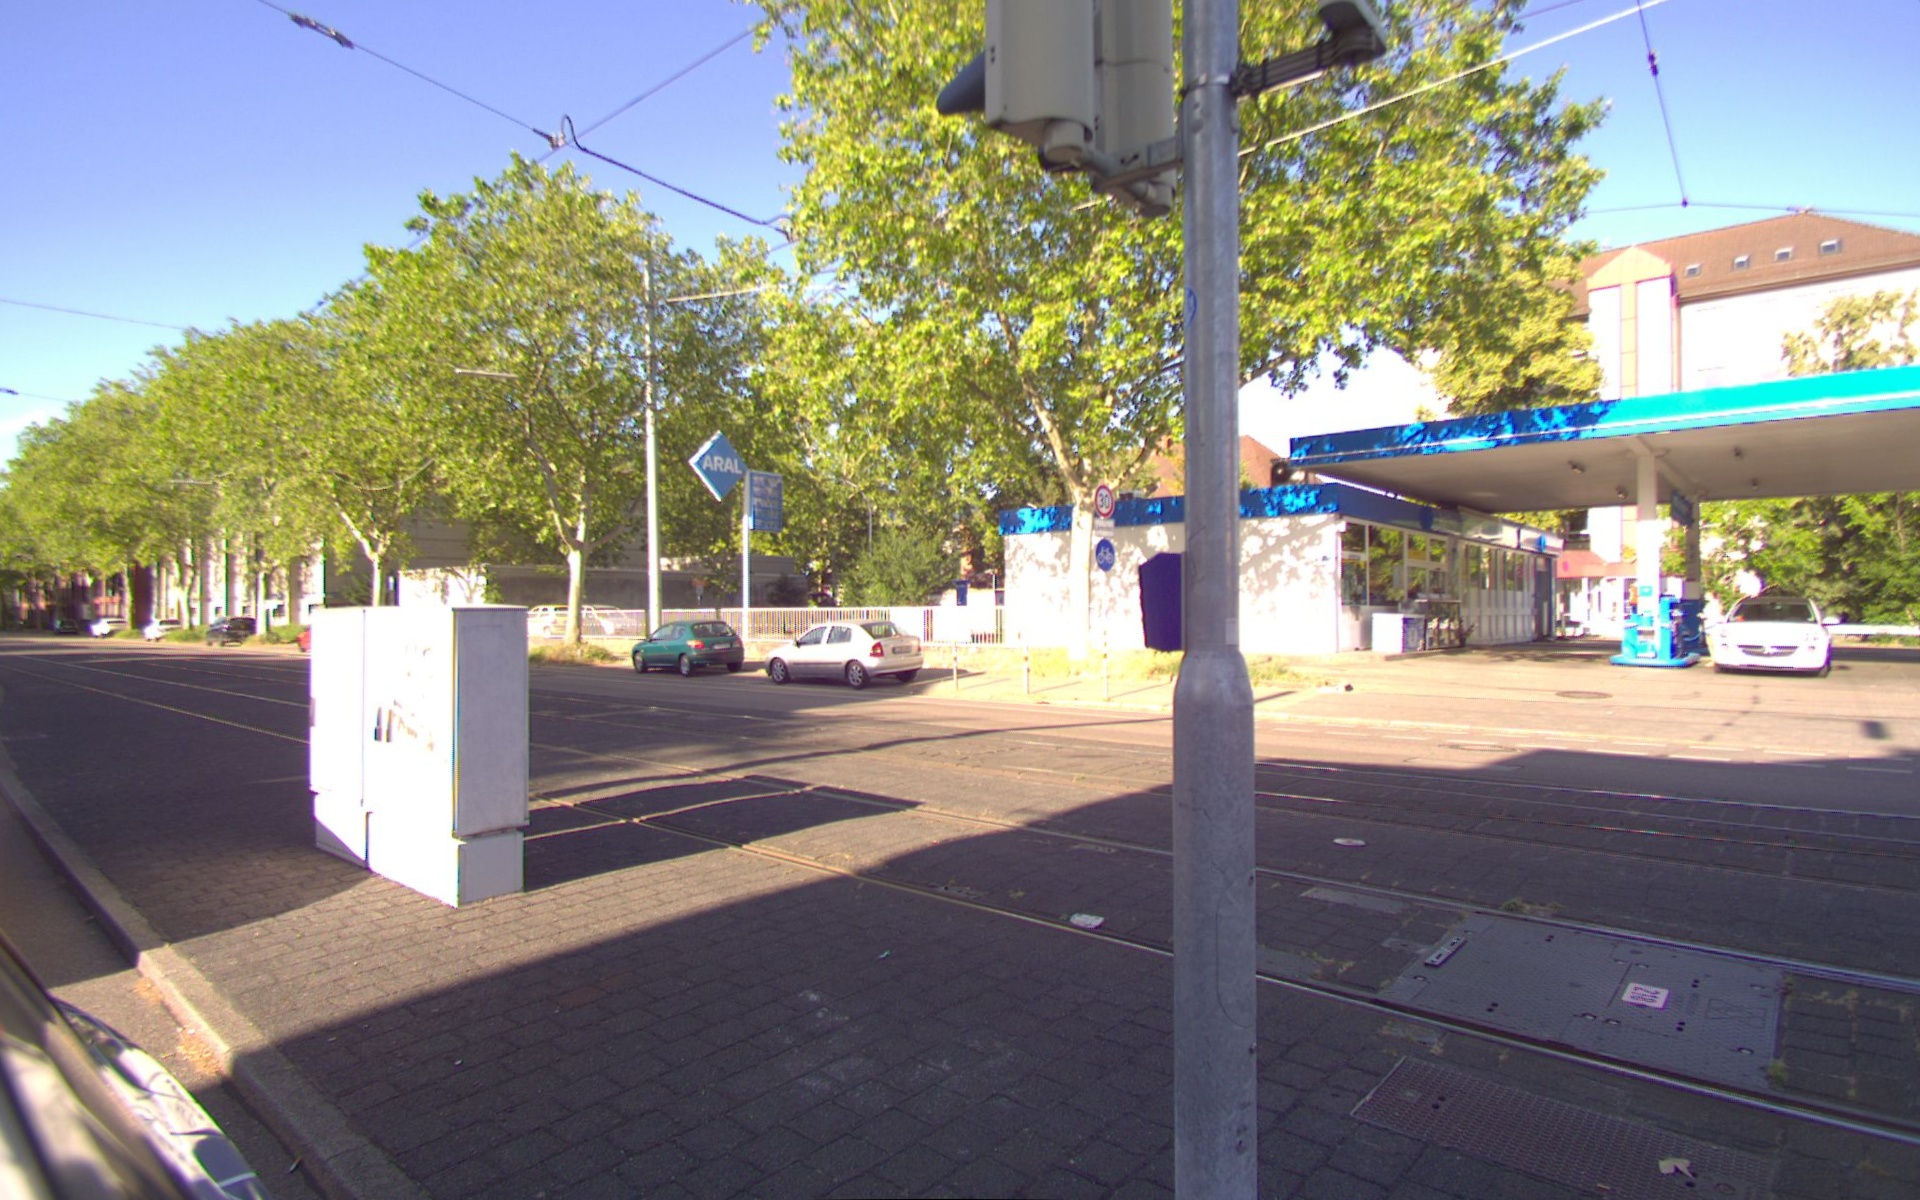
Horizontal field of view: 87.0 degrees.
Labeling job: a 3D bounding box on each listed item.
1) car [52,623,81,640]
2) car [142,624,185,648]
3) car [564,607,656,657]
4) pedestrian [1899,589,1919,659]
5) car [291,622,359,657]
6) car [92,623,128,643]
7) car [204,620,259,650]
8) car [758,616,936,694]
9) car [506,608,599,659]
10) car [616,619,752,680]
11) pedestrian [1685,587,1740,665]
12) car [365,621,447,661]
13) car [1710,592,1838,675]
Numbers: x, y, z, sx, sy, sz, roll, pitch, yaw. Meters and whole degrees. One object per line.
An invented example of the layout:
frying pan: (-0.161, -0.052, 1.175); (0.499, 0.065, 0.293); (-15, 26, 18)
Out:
car: (-84.871, 3.010, 96.122); (3.858, 1.495, 1.735); (-1, 0, 43)
car: (-53.637, 2.397, 68.126); (3.858, 1.495, 1.735); (-1, 0, 43)
car: (-15.145, 1.363, 43.694); (3.996, 2.029, 1.974); (-1, -1, 39)
pedestrian: (25.360, 0.614, 26.414); (0.887, 1.815, 0.907); (-1, -1, 15)
car: (-28.911, 1.773, 46.050); (3.858, 1.440, 1.695); (-1, 0, 43)
car: (-66.925, 2.578, 79.647); (3.858, 1.495, 1.735); (-1, 0, 43)
car: (-40.674, 1.954, 56.490); (3.858, 1.557, 1.735); (-1, 0, 43)
car: (-2.573, 1.167, 22.600); (3.857, 1.497, 1.823); (-1, 1, 42)
car: (-17.044, 1.393, 42.266); (3.996, 2.029, 1.974); (-1, -1, 39)
car: (-7.433, 1.274, 27.080); (3.858, 1.408, 1.722); (-1, 1, 43)
pedestrian: (16.091, 0.555, 21.643); (0.637, 1.642, 0.814); (1, -2, -42)
car: (-21.984, 1.587, 40.095); (3.858, 1.468, 1.735); (-1, 0, 43)
car: (15.941, 0.614, 19.785); (1.793, 1.453, 3.946); (-1, -1, 40)
